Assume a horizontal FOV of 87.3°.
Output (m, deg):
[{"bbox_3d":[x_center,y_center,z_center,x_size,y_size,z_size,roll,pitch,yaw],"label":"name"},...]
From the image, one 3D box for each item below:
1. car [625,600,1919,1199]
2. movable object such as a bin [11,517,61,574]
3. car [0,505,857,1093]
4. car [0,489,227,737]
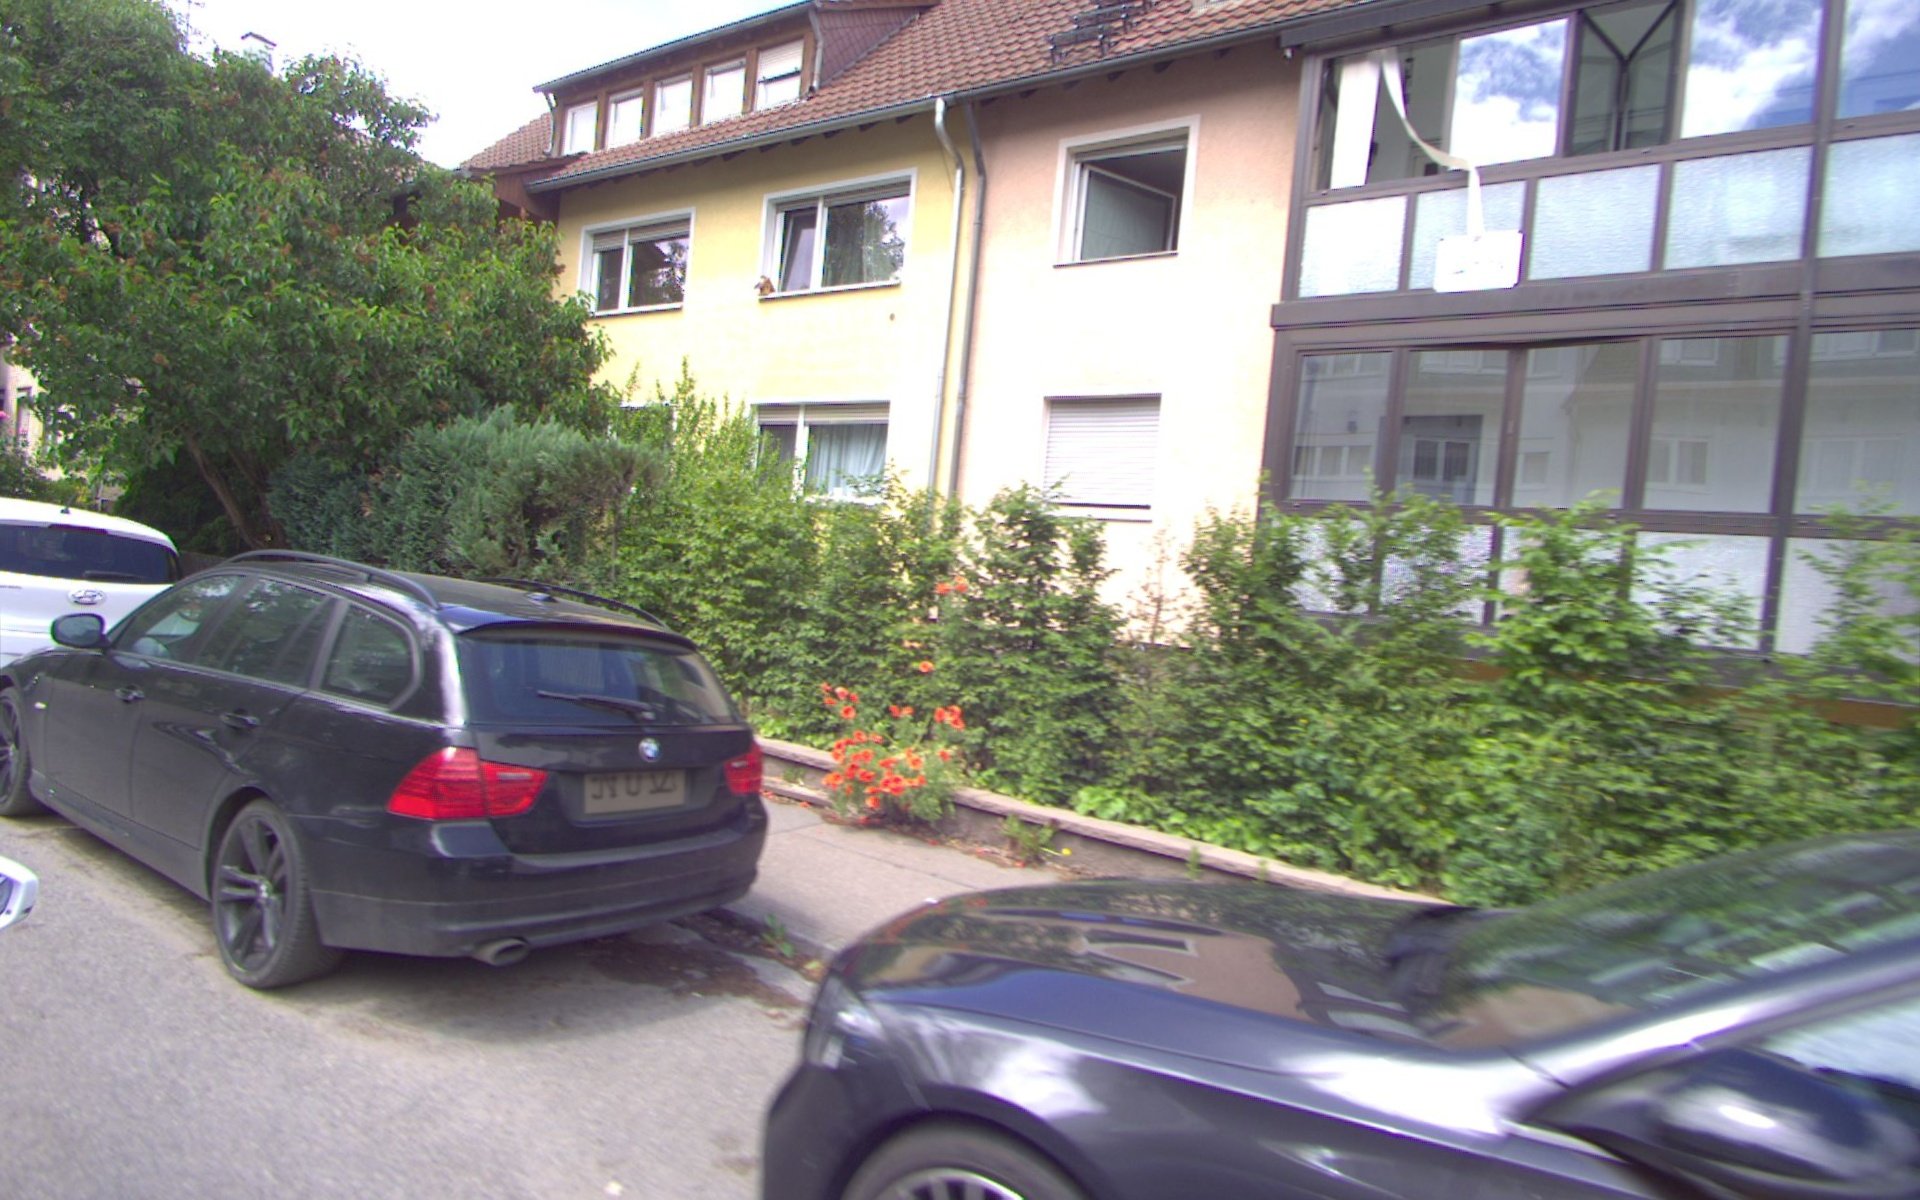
[{"bbox_3d":[1.834,1.058,1.551,4.802,1.445,1.738,7,-2,32],"label":"car"},{"bbox_3d":[-16.669,-0.981,18.156,0.511,0.948,0.507,9,4,32],"label":"movable object such as a bin"},{"bbox_3d":[-2.930,0.478,4.835,4.514,1.441,1.994,7,1,34],"label":"car"},{"bbox_3d":[-7.326,-0.070,7.538,3.717,1.527,1.623,7,1,32],"label":"car"}]
